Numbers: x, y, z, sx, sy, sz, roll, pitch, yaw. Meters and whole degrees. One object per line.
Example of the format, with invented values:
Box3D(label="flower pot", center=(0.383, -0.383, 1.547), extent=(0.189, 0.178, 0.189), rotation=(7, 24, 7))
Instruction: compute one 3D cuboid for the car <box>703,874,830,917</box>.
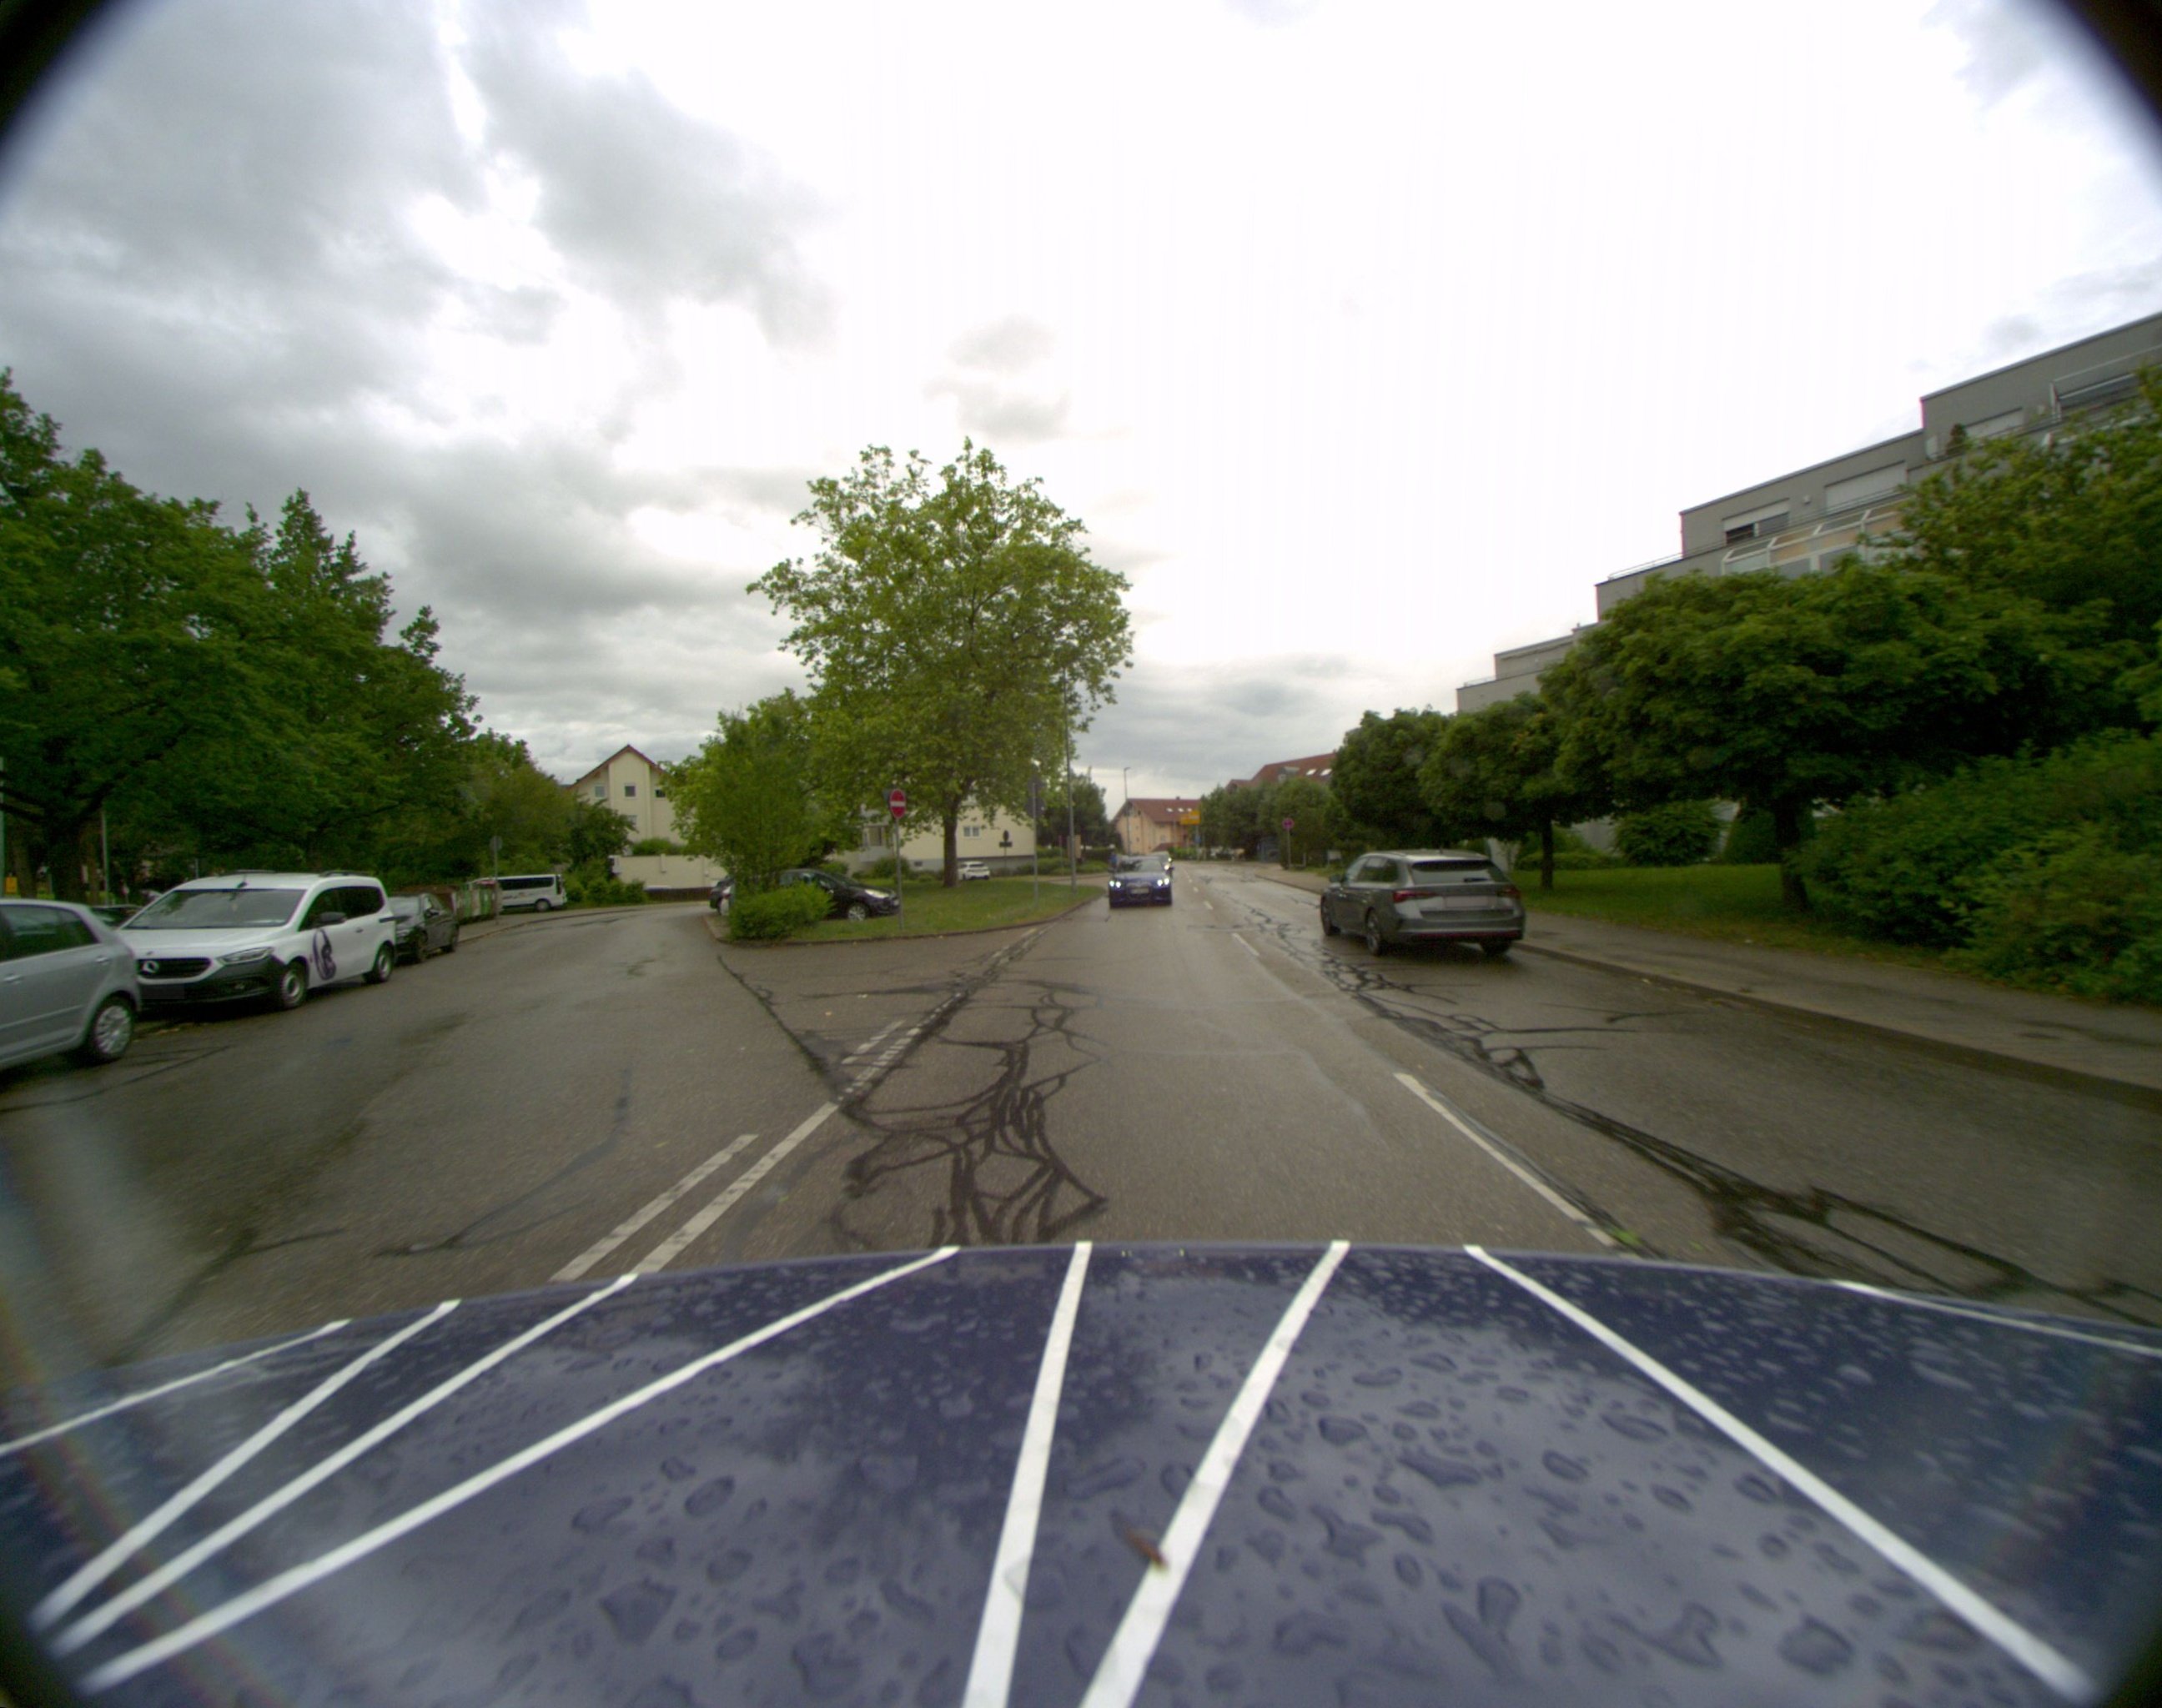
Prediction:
Box3D(label="car", center=(-11.824, 1.549, 28.775), extent=(4.019, 1.363, 1.764), rotation=(-2, 0, 1))

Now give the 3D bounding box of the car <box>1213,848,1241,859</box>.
Box3D(label="car", center=(21.769, -0.031, 113.087), extent=(1.741, 1.592, 3.990), rotation=(-2, 0, -34))

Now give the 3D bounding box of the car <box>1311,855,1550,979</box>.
Box3D(label="car", center=(4.875, 0.766, 11.303), extent=(1.745, 1.406, 4.142), rotation=(-3, 0, 3))

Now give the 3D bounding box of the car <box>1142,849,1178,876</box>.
Box3D(label="car", center=(4.779, 0.470, 45.514), extent=(1.839, 1.440, 4.002), rotation=(-3, 0, 9))

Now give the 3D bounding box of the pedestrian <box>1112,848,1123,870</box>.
Box3D(label="pedestrian", center=(2.867, 0.404, 60.264), extent=(0.591, 1.657, 0.775), rotation=(-4, 1, -10))

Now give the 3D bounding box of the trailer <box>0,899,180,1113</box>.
Box3D(label="trailer", center=(-9.105, 1.230, 5.314), extent=(2.003, 1.534, 4.417), rotation=(-3, 0, -27))

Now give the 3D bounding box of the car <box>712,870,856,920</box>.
Box3D(label="car", center=(-9.776, 1.339, 25.192), extent=(4.019, 1.434, 1.764), rotation=(-2, 0, 1))

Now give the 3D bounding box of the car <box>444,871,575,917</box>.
Box3D(label="car", center=(-29.379, 2.030, 39.290), extent=(5.003, 2.002, 2.082), rotation=(-3, 0, -26))

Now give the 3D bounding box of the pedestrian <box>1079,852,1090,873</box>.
Box3D(label="pedestrian", center=(0.291, 0.749, 65.339), extent=(0.616, 1.762, 0.670), rotation=(-3, 1, -19))

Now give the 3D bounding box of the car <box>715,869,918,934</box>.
Box3D(label="car", center=(-6.769, 1.204, 19.757), extent=(4.584, 1.434, 1.764), rotation=(-2, 0, 1))

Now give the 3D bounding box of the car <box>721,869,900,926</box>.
Box3D(label="car", center=(-7.883, 1.256, 22.396), extent=(4.584, 1.434, 1.764), rotation=(-2, 0, 1))

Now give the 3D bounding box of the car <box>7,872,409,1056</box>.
Box3D(label="car", center=(-11.587, 1.261, 10.619), extent=(2.002, 1.870, 4.204), rotation=(-3, 0, -24))

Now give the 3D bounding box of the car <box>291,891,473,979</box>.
Box3D(label="car", center=(-14.311, 1.556, 15.847), extent=(1.768, 1.374, 4.178), rotation=(-3, 0, -28))

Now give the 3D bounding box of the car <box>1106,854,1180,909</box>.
Box3D(label="car", center=(2.017, 0.779, 23.589), extent=(1.912, 1.425, 4.303), rotation=(-2, 0, 9))

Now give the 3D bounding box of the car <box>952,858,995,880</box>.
Box3D(label="car", center=(-7.808, 1.059, 55.063), extent=(1.749, 1.472, 3.760), rotation=(-2, 0, -30))
